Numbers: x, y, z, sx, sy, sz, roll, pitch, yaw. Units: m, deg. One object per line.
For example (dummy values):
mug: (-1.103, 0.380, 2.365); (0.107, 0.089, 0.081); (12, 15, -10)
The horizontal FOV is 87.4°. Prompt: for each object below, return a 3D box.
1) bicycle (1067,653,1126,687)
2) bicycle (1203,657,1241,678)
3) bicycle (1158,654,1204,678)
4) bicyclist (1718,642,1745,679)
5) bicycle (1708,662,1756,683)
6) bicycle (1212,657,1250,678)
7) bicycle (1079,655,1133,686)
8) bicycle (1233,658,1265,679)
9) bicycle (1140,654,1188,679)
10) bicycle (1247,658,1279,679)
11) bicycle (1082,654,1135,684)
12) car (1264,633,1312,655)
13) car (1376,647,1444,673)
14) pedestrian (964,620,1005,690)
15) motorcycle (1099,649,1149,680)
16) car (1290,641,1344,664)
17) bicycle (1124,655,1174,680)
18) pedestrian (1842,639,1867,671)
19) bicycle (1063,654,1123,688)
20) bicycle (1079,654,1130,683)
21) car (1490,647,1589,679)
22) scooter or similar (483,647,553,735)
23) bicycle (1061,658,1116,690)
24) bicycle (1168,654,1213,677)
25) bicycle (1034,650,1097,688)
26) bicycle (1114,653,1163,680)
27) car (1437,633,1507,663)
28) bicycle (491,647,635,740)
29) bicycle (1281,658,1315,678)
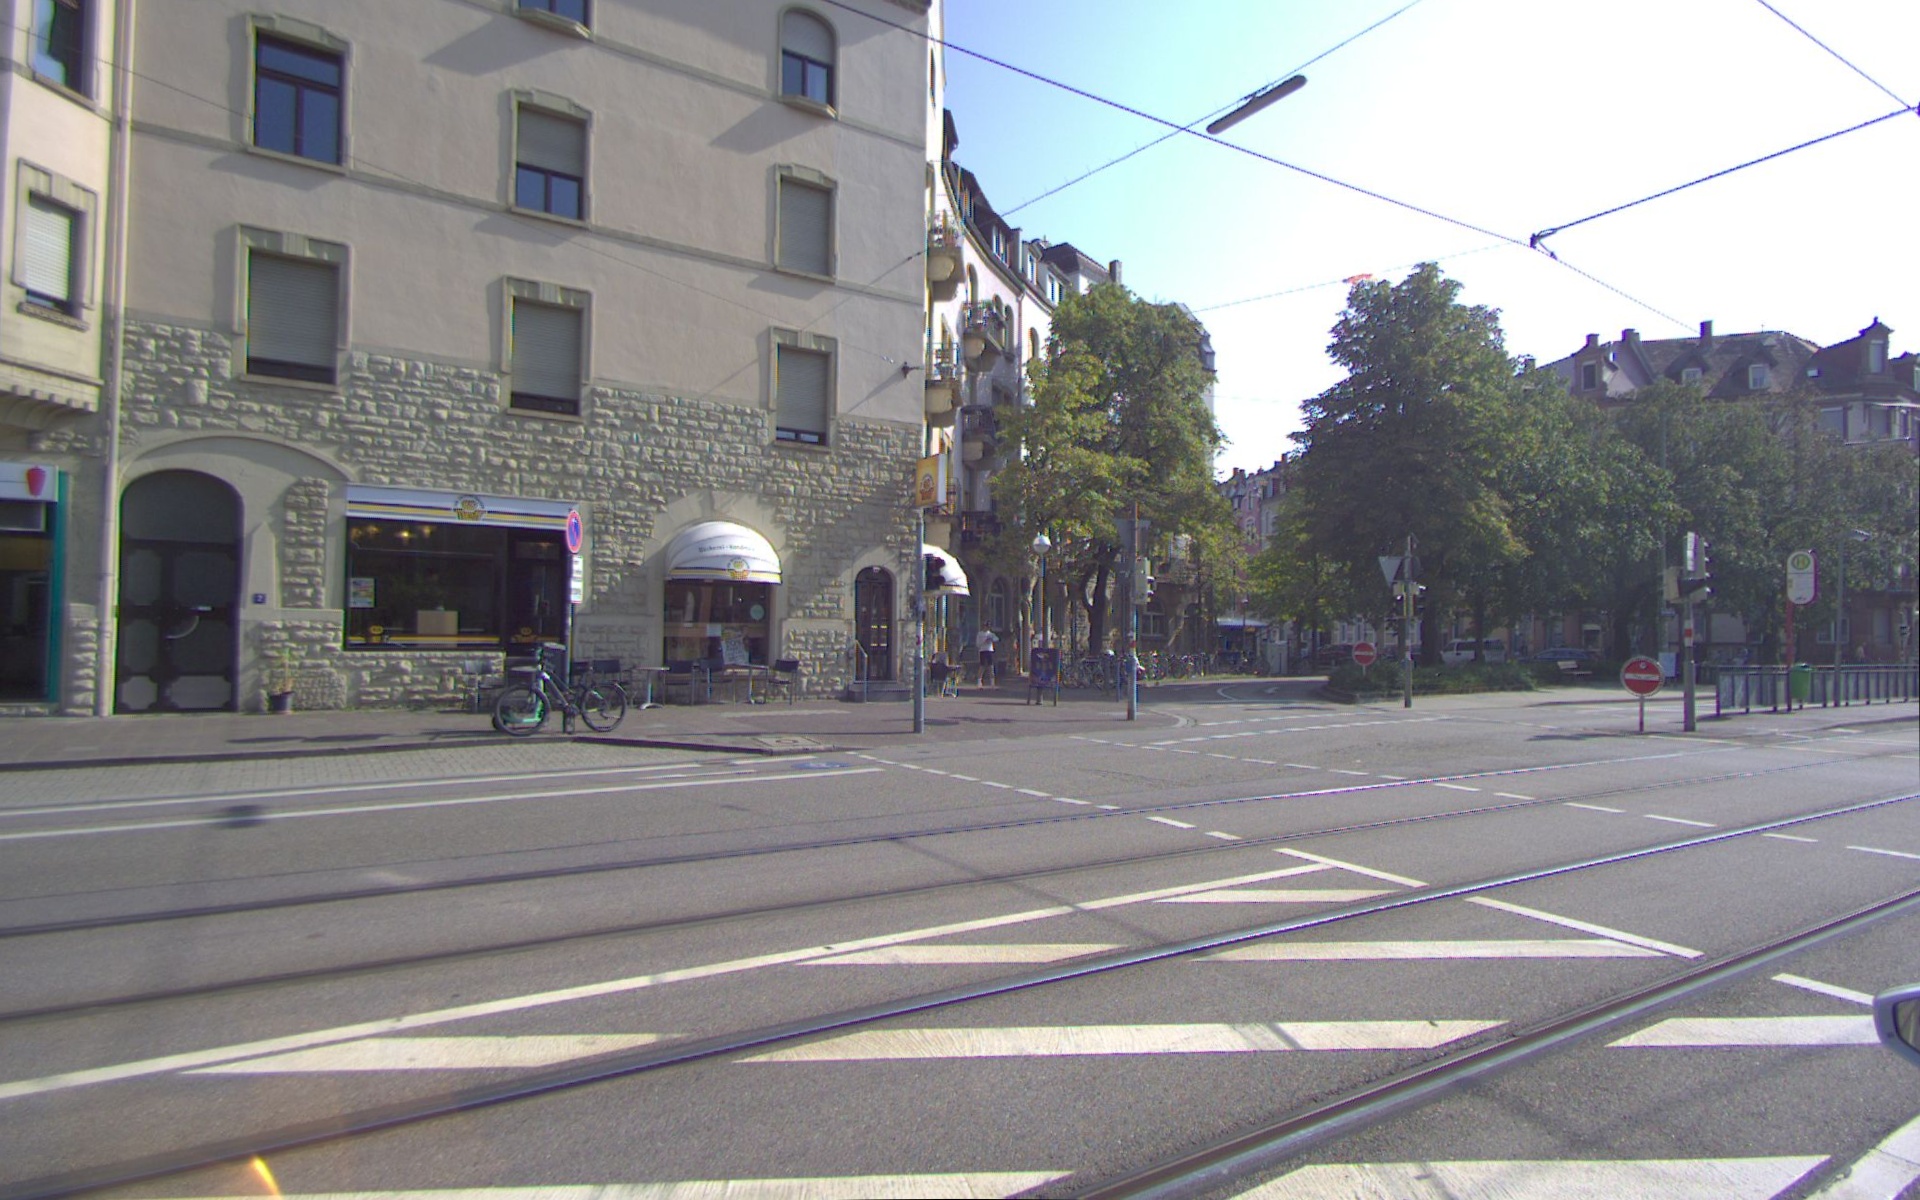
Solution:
bicycle: (4.543, 2.319, 33.416); (1.841, 1.047, 0.570); (1, -2, 20)
bicycle: (12.754, 3.276, 48.950); (1.742, 0.990, 0.518); (-1, -3, 37)
bicycle: (9.619, 2.862, 43.721); (1.865, 0.993, 0.686); (0, -2, 25)
bicyclist: (40.053, 3.130, 52.138); (0.969, 1.881, 0.493); (0, -2, 14)
bicycle: (40.043, 3.757, 52.120); (1.903, 0.990, 0.497); (0, -2, 14)
bicycle: (13.336, 3.298, 49.474); (1.741, 0.990, 0.603); (-1, -3, 36)
bicycle: (5.049, 2.431, 34.762); (1.769, 0.997, 0.570); (1, -2, 18)
bicycle: (13.909, 3.286, 48.379); (1.751, 0.990, 0.422); (2, -3, -33)
bicycle: (8.659, 2.811, 42.699); (1.865, 0.993, 0.686); (0, -2, 25)
bicycle: (14.587, 3.302, 48.371); (1.751, 0.990, 0.422); (2, -3, -33)
bicycle: (5.313, 2.458, 35.947); (1.769, 0.996, 0.661); (1, -2, 18)
car: (28.484, 3.825, 87.370); (1.969, 1.852, 3.985); (1, -2, -18)
car: (28.653, 3.811, 64.101); (1.964, 1.589, 4.330); (1, -2, -9)
pedestrian: (0.683, 1.547, 28.134); (0.767, 1.918, 0.887); (2, -2, -31)
motorcycle: (6.440, 2.524, 39.506); (1.839, 1.169, 0.607); (0, -2, 25)
car: (26.535, 3.887, 74.818); (1.964, 1.589, 4.330); (1, -2, -10)
bicycle: (7.795, 2.771, 41.433); (1.876, 0.947, 0.738); (0, -2, 25)
pedestrian: (48.644, 2.990, 54.623); (0.756, 1.753, 0.752); (0, -2, 20)
bicycle: (4.226, 2.261, 31.954); (1.840, 1.016, 0.570); (1, -2, 5)
bicycle: (5.308, 2.504, 36.962); (1.769, 0.989, 0.661); (1, -2, 18)
car: (31.583, 3.401, 54.839); (1.983, 1.589, 4.289); (2, -3, -38)
scooter or similar: (-6.355, 1.287, 14.488); (0.359, 1.213, 1.035); (0, -2, 12)
bicycle: (3.906, 2.241, 30.507); (1.577, 0.932, 0.479); (1, -2, -1)
bicycle: (10.342, 2.942, 45.107); (1.851, 0.947, 0.635); (-1, -3, 41)
bicycle: (3.272, 2.139, 31.160); (1.845, 1.127, 0.569); (2, -2, -11)
bicycle: (7.161, 2.666, 40.325); (1.843, 1.041, 0.664); (0, -2, 25)
car: (32.471, 3.019, 63.815); (1.964, 1.852, 3.994); (1, -2, -10)
bicycle: (-5.614, 1.294, 14.278); (1.843, 1.242, 0.449); (3, -3, -42)
bicycle: (17.031, 3.421, 50.679); (0.597, 0.990, 1.760); (1, -3, -23)
